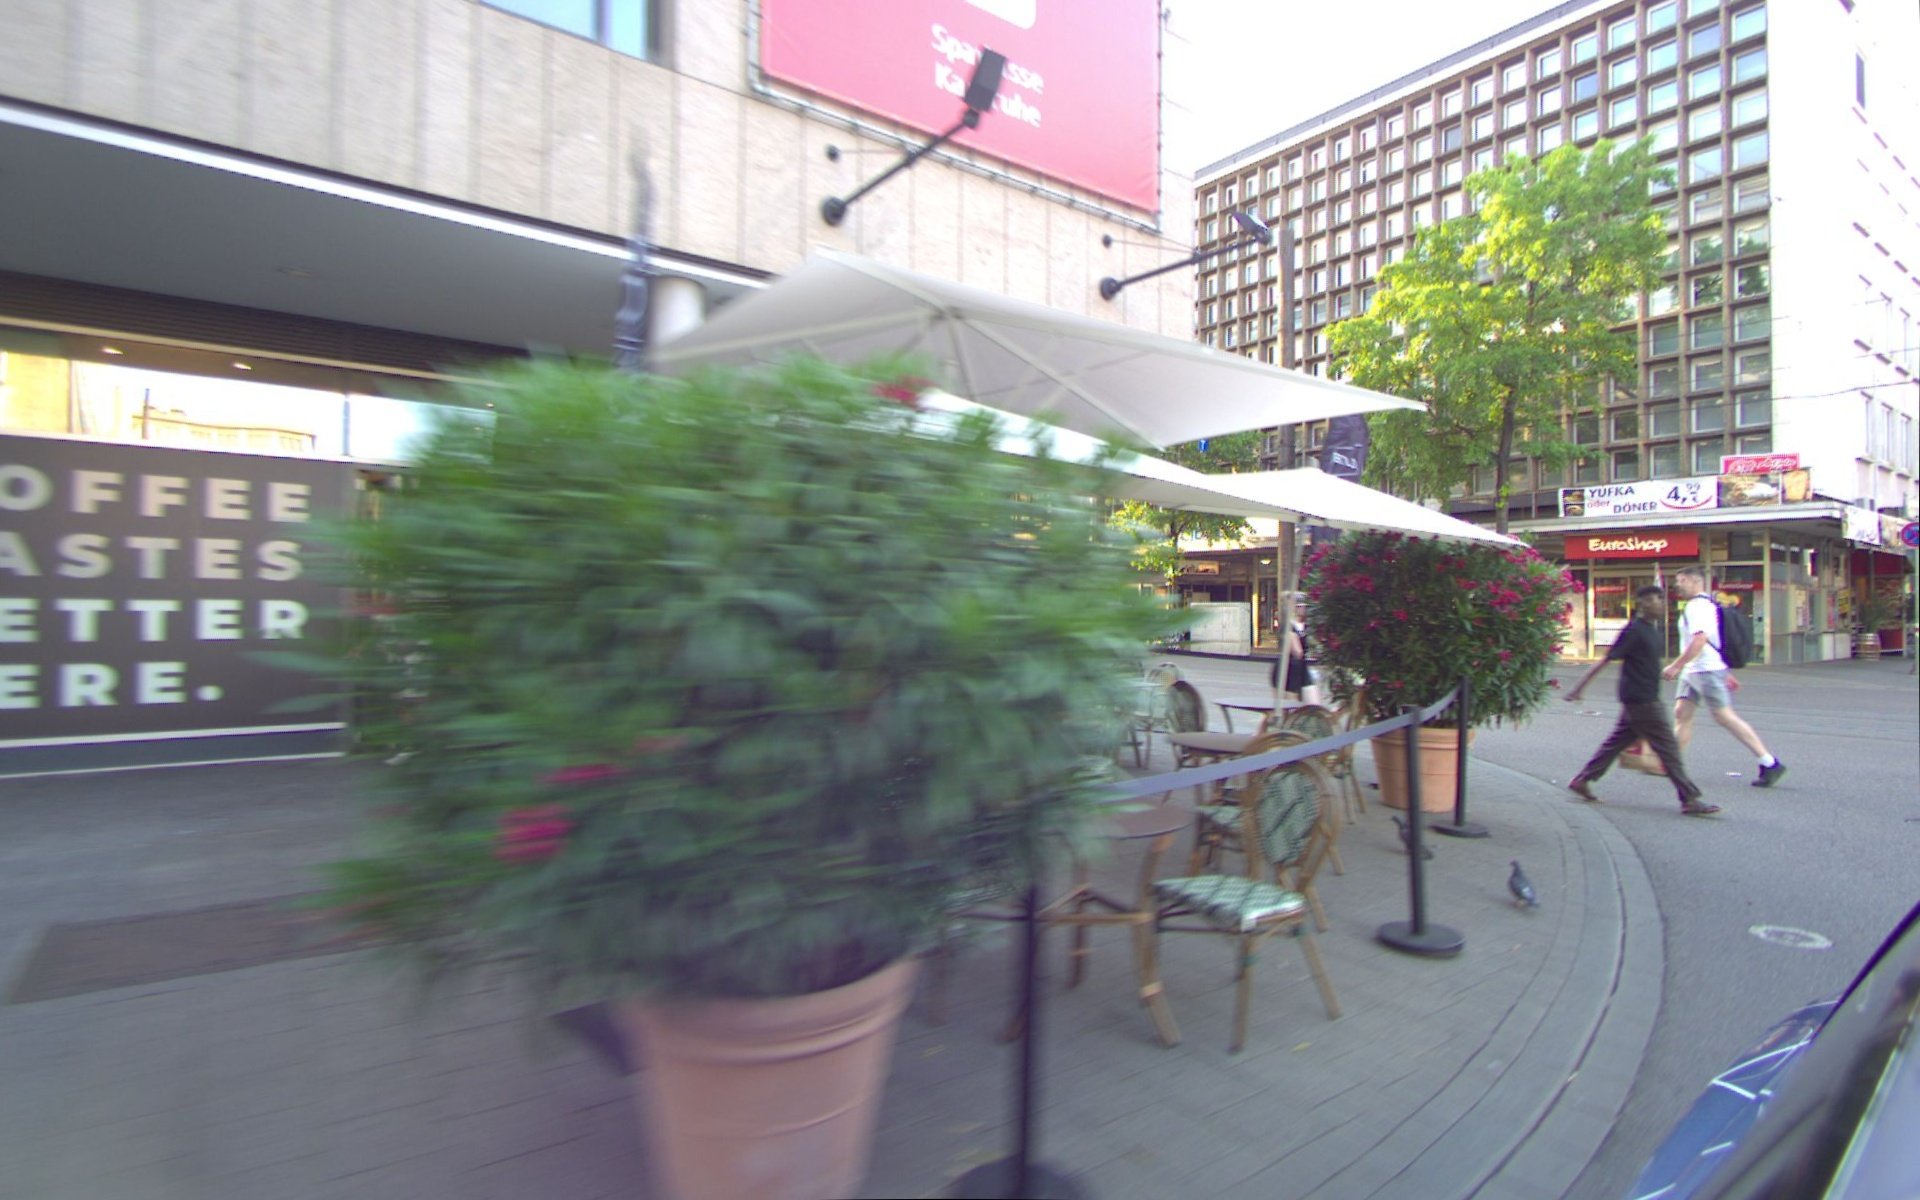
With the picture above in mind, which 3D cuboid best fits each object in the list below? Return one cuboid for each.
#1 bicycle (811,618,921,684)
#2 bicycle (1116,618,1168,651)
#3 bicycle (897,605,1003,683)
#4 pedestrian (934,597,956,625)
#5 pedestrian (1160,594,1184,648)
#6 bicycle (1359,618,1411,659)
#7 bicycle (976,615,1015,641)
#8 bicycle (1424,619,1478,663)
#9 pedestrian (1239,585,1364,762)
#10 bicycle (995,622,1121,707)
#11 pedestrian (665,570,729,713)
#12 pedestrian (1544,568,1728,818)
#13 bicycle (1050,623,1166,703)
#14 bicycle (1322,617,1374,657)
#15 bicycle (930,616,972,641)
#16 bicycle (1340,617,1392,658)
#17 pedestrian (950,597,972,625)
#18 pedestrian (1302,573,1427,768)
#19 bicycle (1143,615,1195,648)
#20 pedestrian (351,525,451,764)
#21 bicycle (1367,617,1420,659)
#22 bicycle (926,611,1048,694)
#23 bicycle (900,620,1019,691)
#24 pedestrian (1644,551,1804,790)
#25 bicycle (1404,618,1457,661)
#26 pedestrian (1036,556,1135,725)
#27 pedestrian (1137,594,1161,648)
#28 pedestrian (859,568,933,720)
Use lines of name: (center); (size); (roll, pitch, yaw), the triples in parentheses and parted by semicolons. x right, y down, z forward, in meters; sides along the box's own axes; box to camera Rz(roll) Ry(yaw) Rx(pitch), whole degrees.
bicycle: (-1.744, 0.954, 18.938); (1.967, 1.170, 0.724); (4, -3, -41)
bicycle: (5.864, 1.100, 32.707); (0.480, 1.058, 1.775); (0, -1, -39)
bicycle: (-0.164, 0.812, 18.477); (1.887, 1.350, 0.724); (4, -3, -41)
pedestrian: (-0.763, 0.553, 50.723); (0.660, 1.342, 0.911); (-2, 1, -37)
pedestrian: (6.830, 0.671, 32.672); (0.591, 1.721, 0.536); (-1, -1, -7)
bicycle: (11.811, 1.049, 28.083); (1.744, 1.058, 0.489); (-1, 0, -36)
bicycle: (1.463, 1.148, 41.543); (1.747, 1.002, 0.488); (-1, -1, -42)
bicycle: (12.882, 1.054, 26.532); (1.744, 1.058, 0.489); (-1, 0, -36)
pedestrian: (3.181, 0.652, 9.435); (0.791, 1.556, 0.809); (2, -2, -40)
bicycle: (1.415, 0.897, 14.401); (1.824, 1.123, 0.666); (3, -2, -39)
pedestrian: (-3.324, 0.516, 12.790); (0.561, 1.754, 0.617); (2, -2, -37)
pedestrian: (5.065, 0.644, 7.594); (0.760, 1.719, 0.994); (0, -1, -44)
bicycle: (2.260, 0.935, 15.306); (1.824, 1.123, 0.666); (3, -2, -39)
bicycle: (11.122, 1.046, 29.003); (1.744, 1.058, 0.489); (-1, 0, -36)
bicycle: (-0.397, 1.228, 43.993); (1.740, 0.978, 0.490); (-2, 1, -19)
bicycle: (11.455, 1.048, 28.538); (1.744, 1.058, 0.489); (-1, 0, -36)
pedestrian: (0.060, 0.550, 49.847); (0.660, 1.342, 0.911); (-2, 1, -37)
pedestrian: (3.779, 0.626, 9.467); (0.791, 1.716, 0.809); (2, -2, -40)
bicycle: (6.955, 1.037, 33.755); (0.480, 1.058, 1.775); (0, -1, -39)
pedestrian: (-4.663, 0.355, 8.436); (0.651, 1.872, 0.720); (2, -1, -30)
bicycle: (11.951, 1.037, 27.885); (1.744, 1.058, 0.489); (-1, 0, -36)
bicycle: (0.443, 0.829, 15.977); (1.887, 1.238, 0.762); (4, -3, -41)
bicycle: (0.009, 0.910, 16.582); (1.887, 1.092, 0.762); (4, -3, -41)
pedestrian: (6.540, 0.551, 8.699); (1.037, 1.887, 1.003); (0, 0, 37)
bicycle: (12.571, 1.047, 27.024); (1.744, 1.058, 0.489); (-1, 0, -36)
pedestrian: (1.398, 0.434, 11.297); (0.761, 1.795, 0.773); (2, -1, -37)
pedestrian: (6.137, 0.673, 32.844); (0.591, 1.721, 0.536); (-1, -1, -7)
pedestrian: (-0.767, 0.518, 12.133); (0.626, 1.754, 0.617); (2, -2, -37)
